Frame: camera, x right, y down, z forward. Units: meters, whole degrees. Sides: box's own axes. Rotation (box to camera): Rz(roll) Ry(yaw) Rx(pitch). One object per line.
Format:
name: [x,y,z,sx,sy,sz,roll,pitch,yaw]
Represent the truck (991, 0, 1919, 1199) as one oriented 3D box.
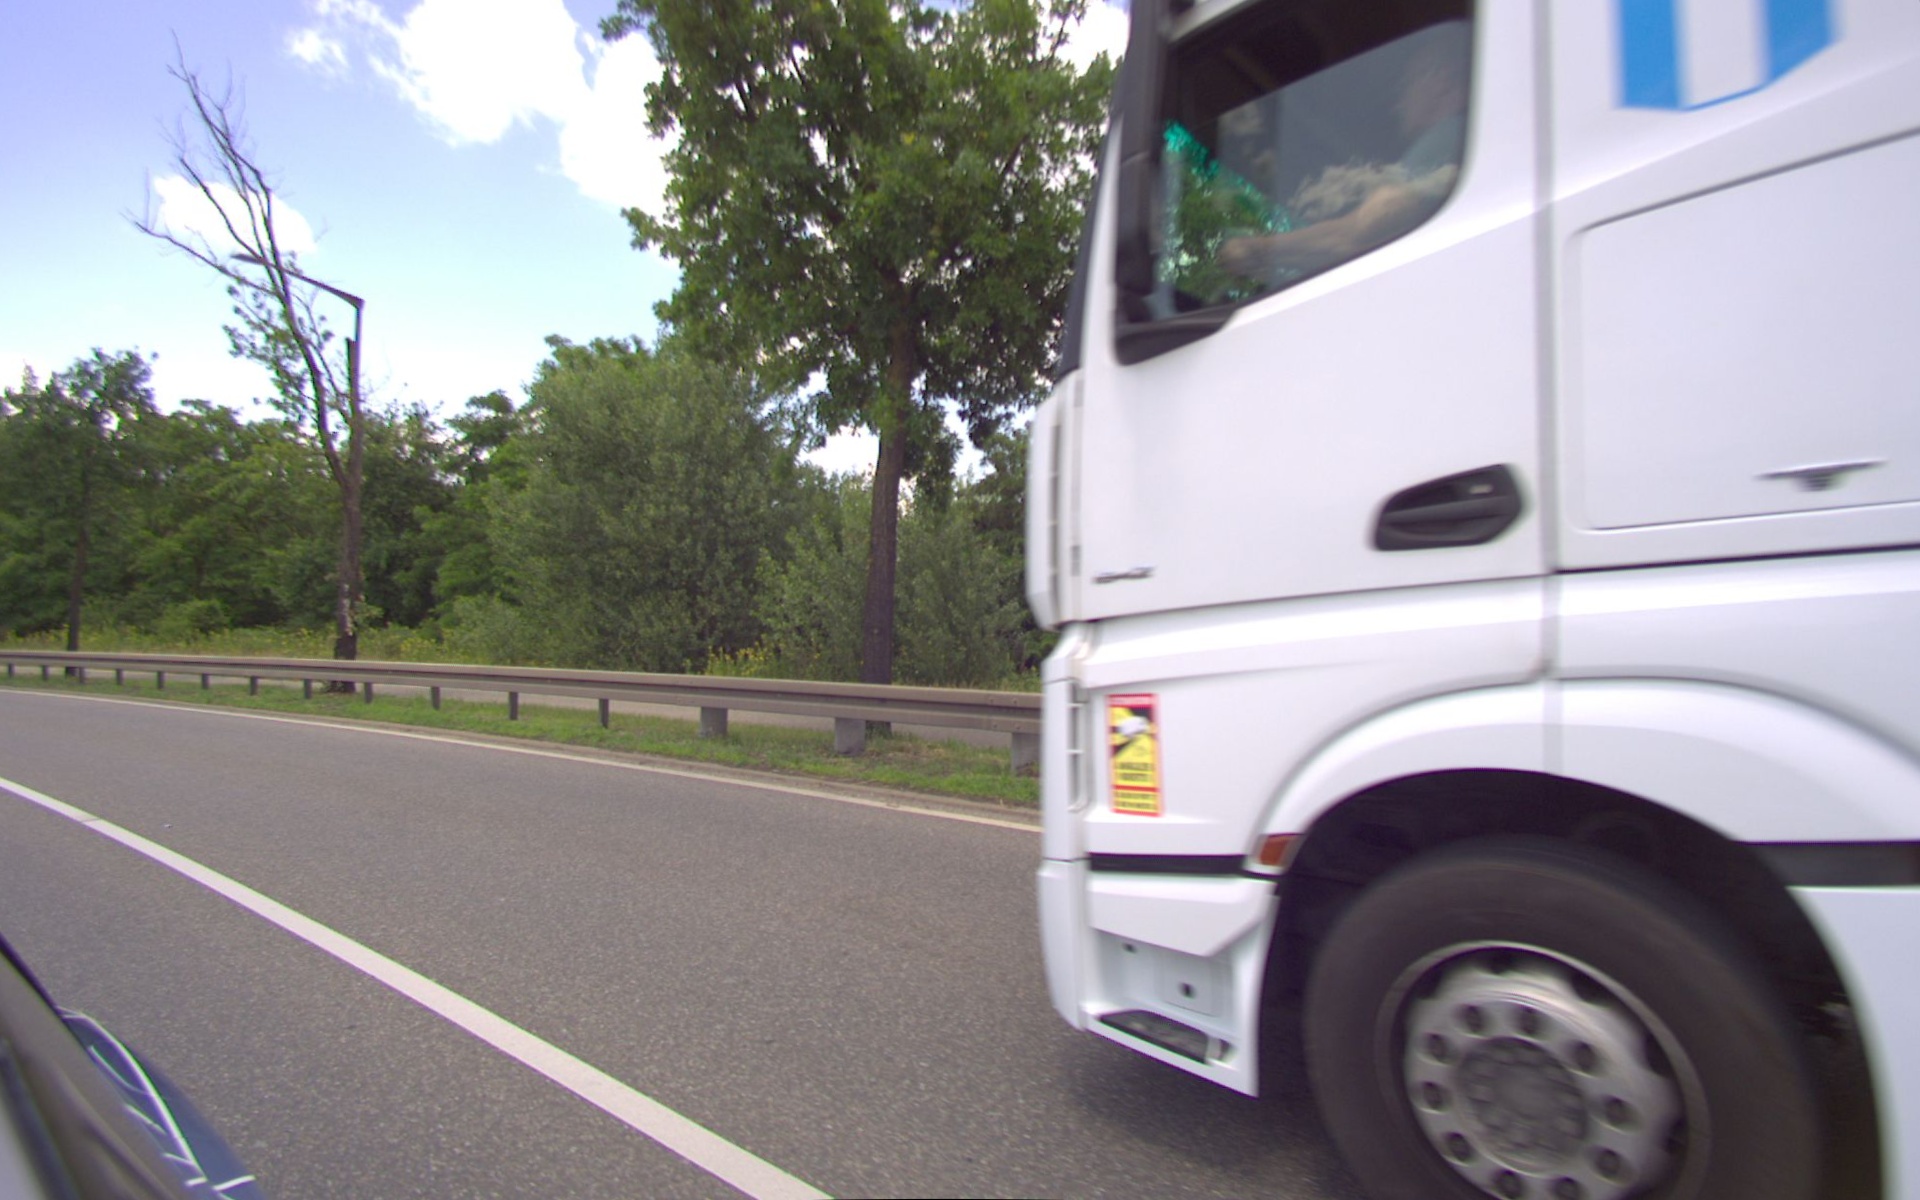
truck: [3.065,-0.600,1.939,5.654,4.166,2.730,-2,-2,44]
